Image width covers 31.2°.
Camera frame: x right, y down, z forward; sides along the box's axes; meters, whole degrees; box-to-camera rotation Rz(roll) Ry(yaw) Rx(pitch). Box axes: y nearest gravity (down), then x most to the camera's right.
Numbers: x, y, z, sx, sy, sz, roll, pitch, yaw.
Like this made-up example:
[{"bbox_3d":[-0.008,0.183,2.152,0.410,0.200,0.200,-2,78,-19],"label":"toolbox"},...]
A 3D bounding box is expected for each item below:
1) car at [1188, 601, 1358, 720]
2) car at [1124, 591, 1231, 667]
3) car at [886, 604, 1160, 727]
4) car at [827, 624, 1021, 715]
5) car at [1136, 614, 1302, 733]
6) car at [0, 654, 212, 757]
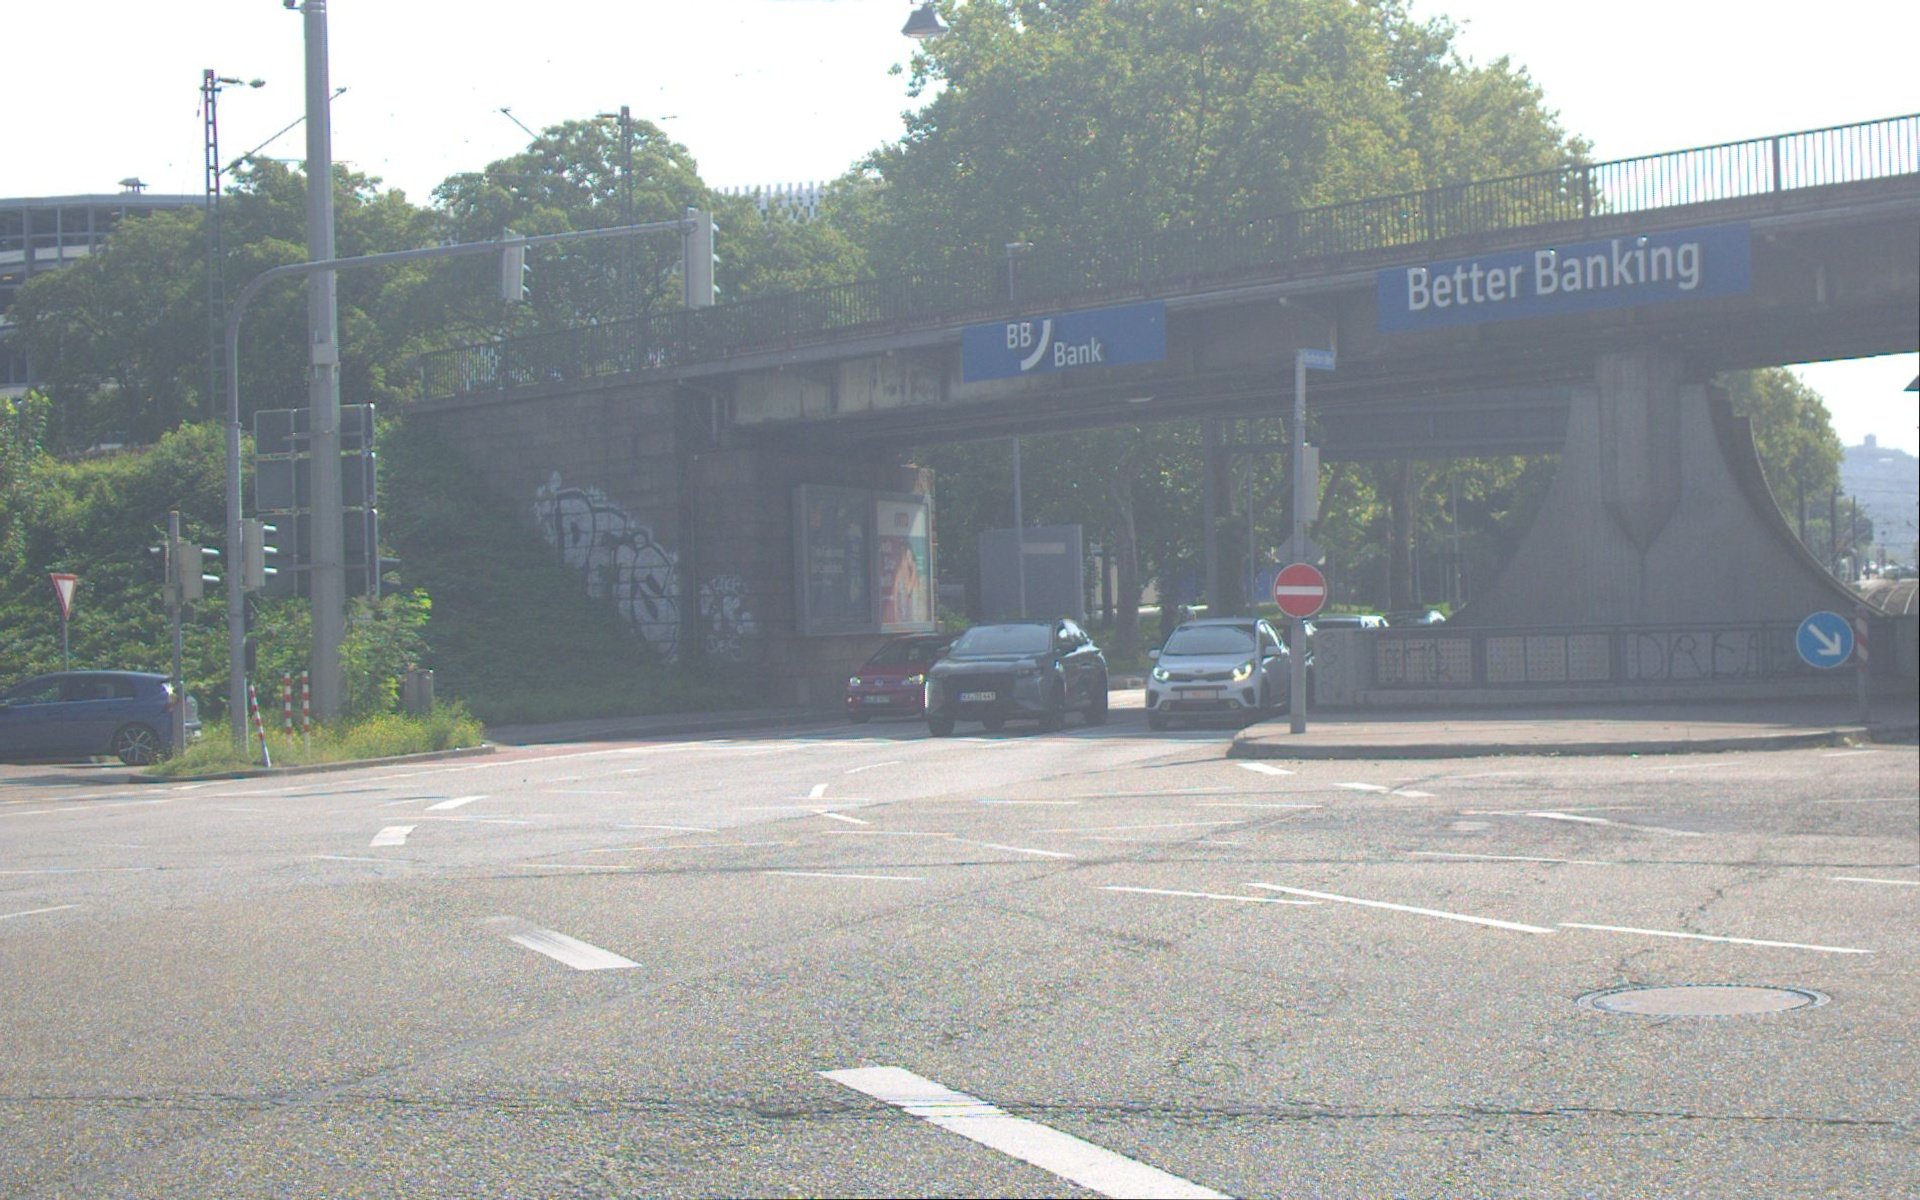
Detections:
[{"bbox_3d":[4.812,0.885,52.351,1.995,1.567,4.345,-1,2,13],"label":"car"},{"bbox_3d":[5.553,0.721,87.492,1.995,1.842,3.997,1,0,14],"label":"car"},{"bbox_3d":[0.969,0.922,49.864,1.905,1.611,4.466,-3,-1,32],"label":"car"},{"bbox_3d":[-0.591,1.166,58.979,1.641,1.462,3.547,1,0,32],"label":"car"},{"bbox_3d":[3.644,0.994,47.820,1.722,1.533,3.694,-2,-1,13],"label":"car"},{"bbox_3d":[-13.417,1.570,51.701,3.986,1.423,1.786,1,0,-3],"label":"car"}]
